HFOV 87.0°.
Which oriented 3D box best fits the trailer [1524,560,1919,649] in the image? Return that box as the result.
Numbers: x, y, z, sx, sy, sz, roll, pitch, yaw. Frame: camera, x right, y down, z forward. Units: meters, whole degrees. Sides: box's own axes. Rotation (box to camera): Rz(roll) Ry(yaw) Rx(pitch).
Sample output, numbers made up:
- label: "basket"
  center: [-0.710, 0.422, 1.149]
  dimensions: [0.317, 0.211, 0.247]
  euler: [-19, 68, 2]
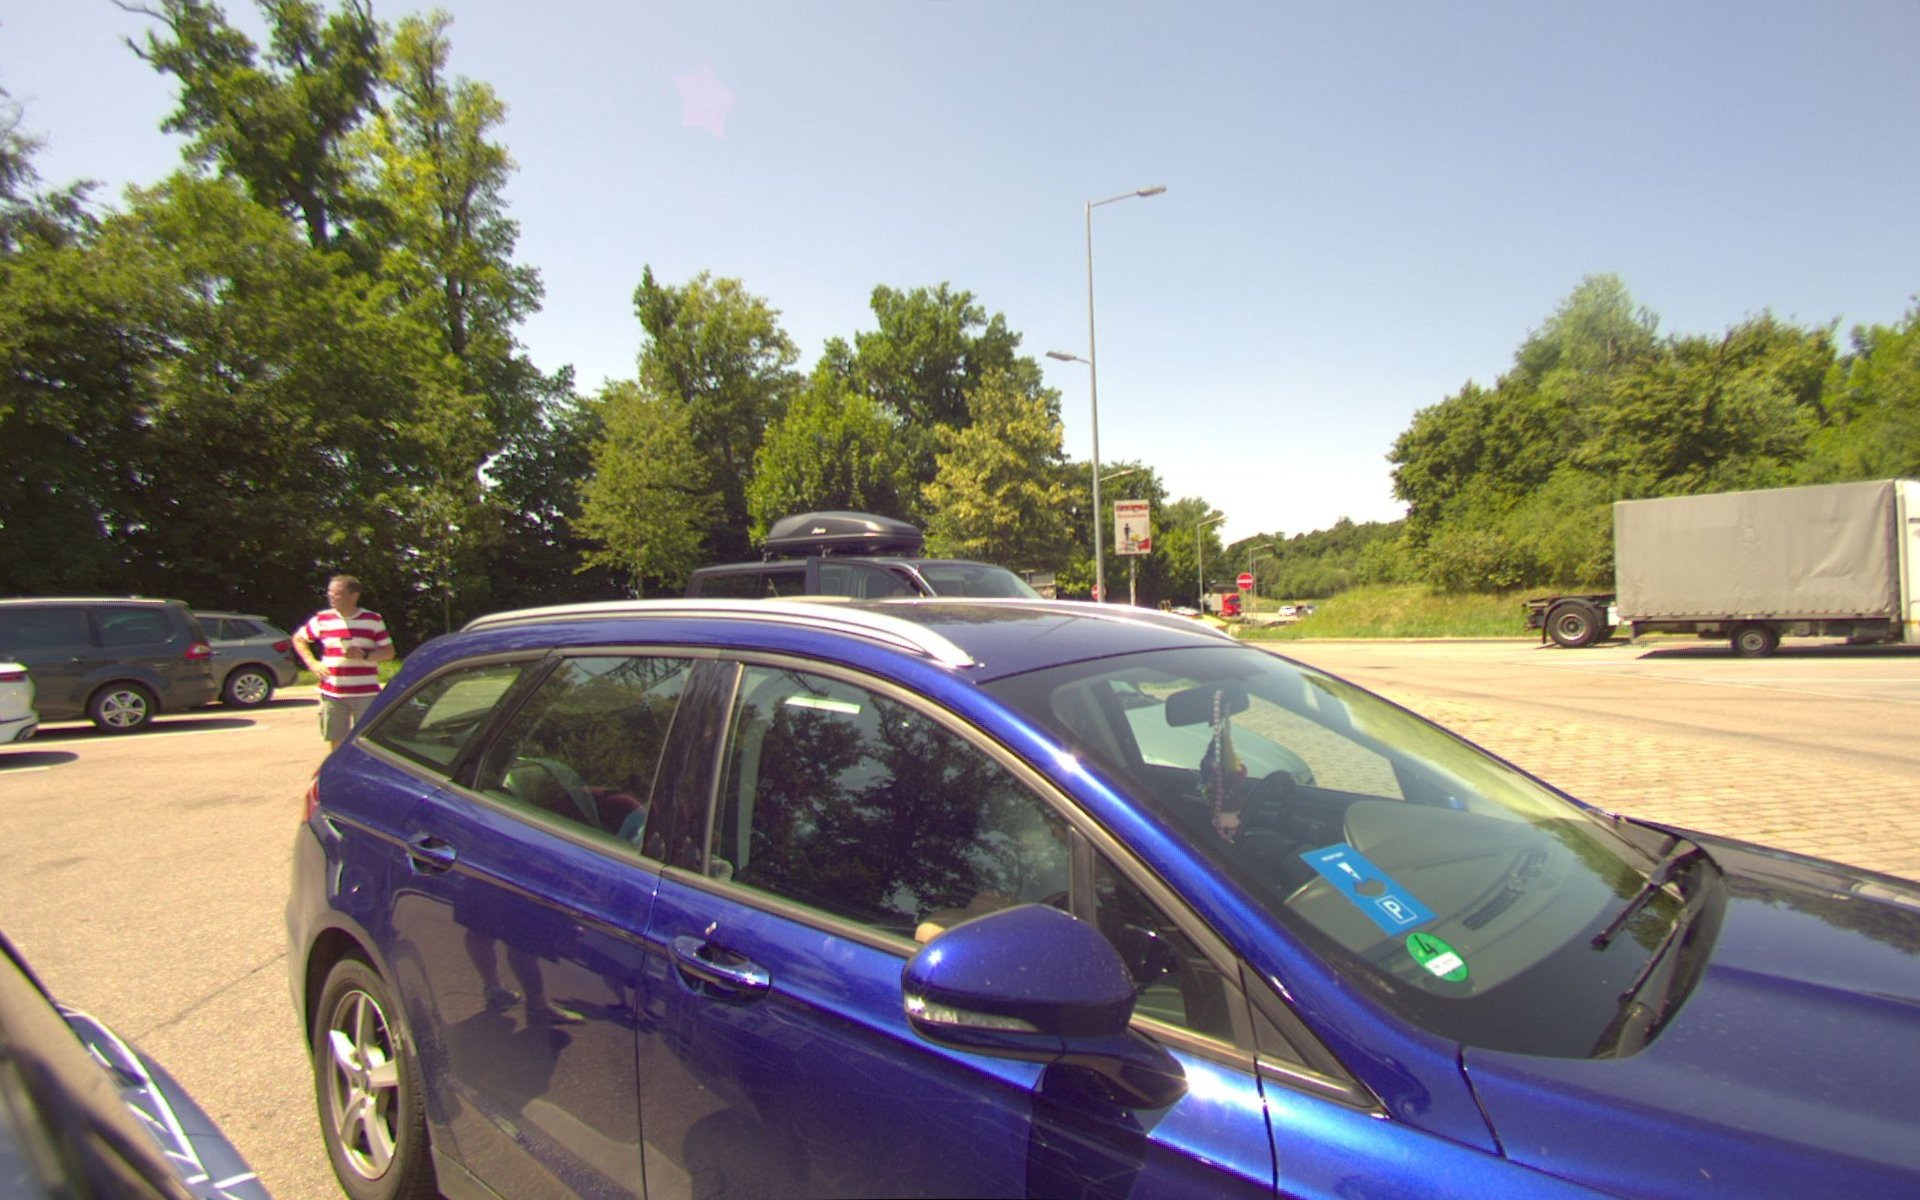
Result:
- label: "trailer"
  center: [17.702, 0.149, 23.098]
  dimensions: [8.098, 1.638, 2.187]
  euler: [-4, -1, 41]

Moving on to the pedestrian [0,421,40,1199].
- label: "pedestrian"
  center: [-2.730, 0.520, 2.230]
  dimensions: [0.905, 1.919, 0.816]
  euler: [-1, 0, -33]

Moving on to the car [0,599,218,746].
- label: "car"
  center: [-11.634, 0.866, 12.644]
  dimensions: [3.767, 1.708, 1.654]
  euler: [-1, 0, -38]

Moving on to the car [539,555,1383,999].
- label: "car"
  center: [-0.324, 0.668, 5.598]
  dimensions: [4.569, 1.517, 1.735]
  euler: [-3, 0, 40]

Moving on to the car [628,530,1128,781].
- label: "car"
  center: [-0.895, 0.496, 9.647]
  dimensions: [4.558, 1.912, 1.740]
  euler: [-3, 0, 32]

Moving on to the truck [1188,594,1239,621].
- label: "truck"
  center: [45.726, 1.350, 182.886]
  dimensions: [2.713, 4.589, 14.101]
  euler: [-1, 0, -13]

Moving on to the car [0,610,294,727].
- label: "car"
  center: [-12.626, 0.970, 15.651]
  dimensions: [3.767, 1.572, 1.654]
  euler: [-1, 0, -38]

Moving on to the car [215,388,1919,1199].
- label: "car"
  center: [0.231, 0.633, 2.062]
  dimensions: [4.569, 1.482, 1.735]
  euler: [-3, 0, 40]

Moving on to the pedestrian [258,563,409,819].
- label: "pedestrian"
  center: [-4.591, 0.628, 7.469]
  dimensions: [0.742, 1.767, 0.787]
  euler: [-1, 0, -15]

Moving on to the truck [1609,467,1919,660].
- label: "truck"
  center: [16.778, -0.655, 19.001]
  dimensions: [7.274, 3.269, 2.678]
  euler: [-4, -1, 42]
